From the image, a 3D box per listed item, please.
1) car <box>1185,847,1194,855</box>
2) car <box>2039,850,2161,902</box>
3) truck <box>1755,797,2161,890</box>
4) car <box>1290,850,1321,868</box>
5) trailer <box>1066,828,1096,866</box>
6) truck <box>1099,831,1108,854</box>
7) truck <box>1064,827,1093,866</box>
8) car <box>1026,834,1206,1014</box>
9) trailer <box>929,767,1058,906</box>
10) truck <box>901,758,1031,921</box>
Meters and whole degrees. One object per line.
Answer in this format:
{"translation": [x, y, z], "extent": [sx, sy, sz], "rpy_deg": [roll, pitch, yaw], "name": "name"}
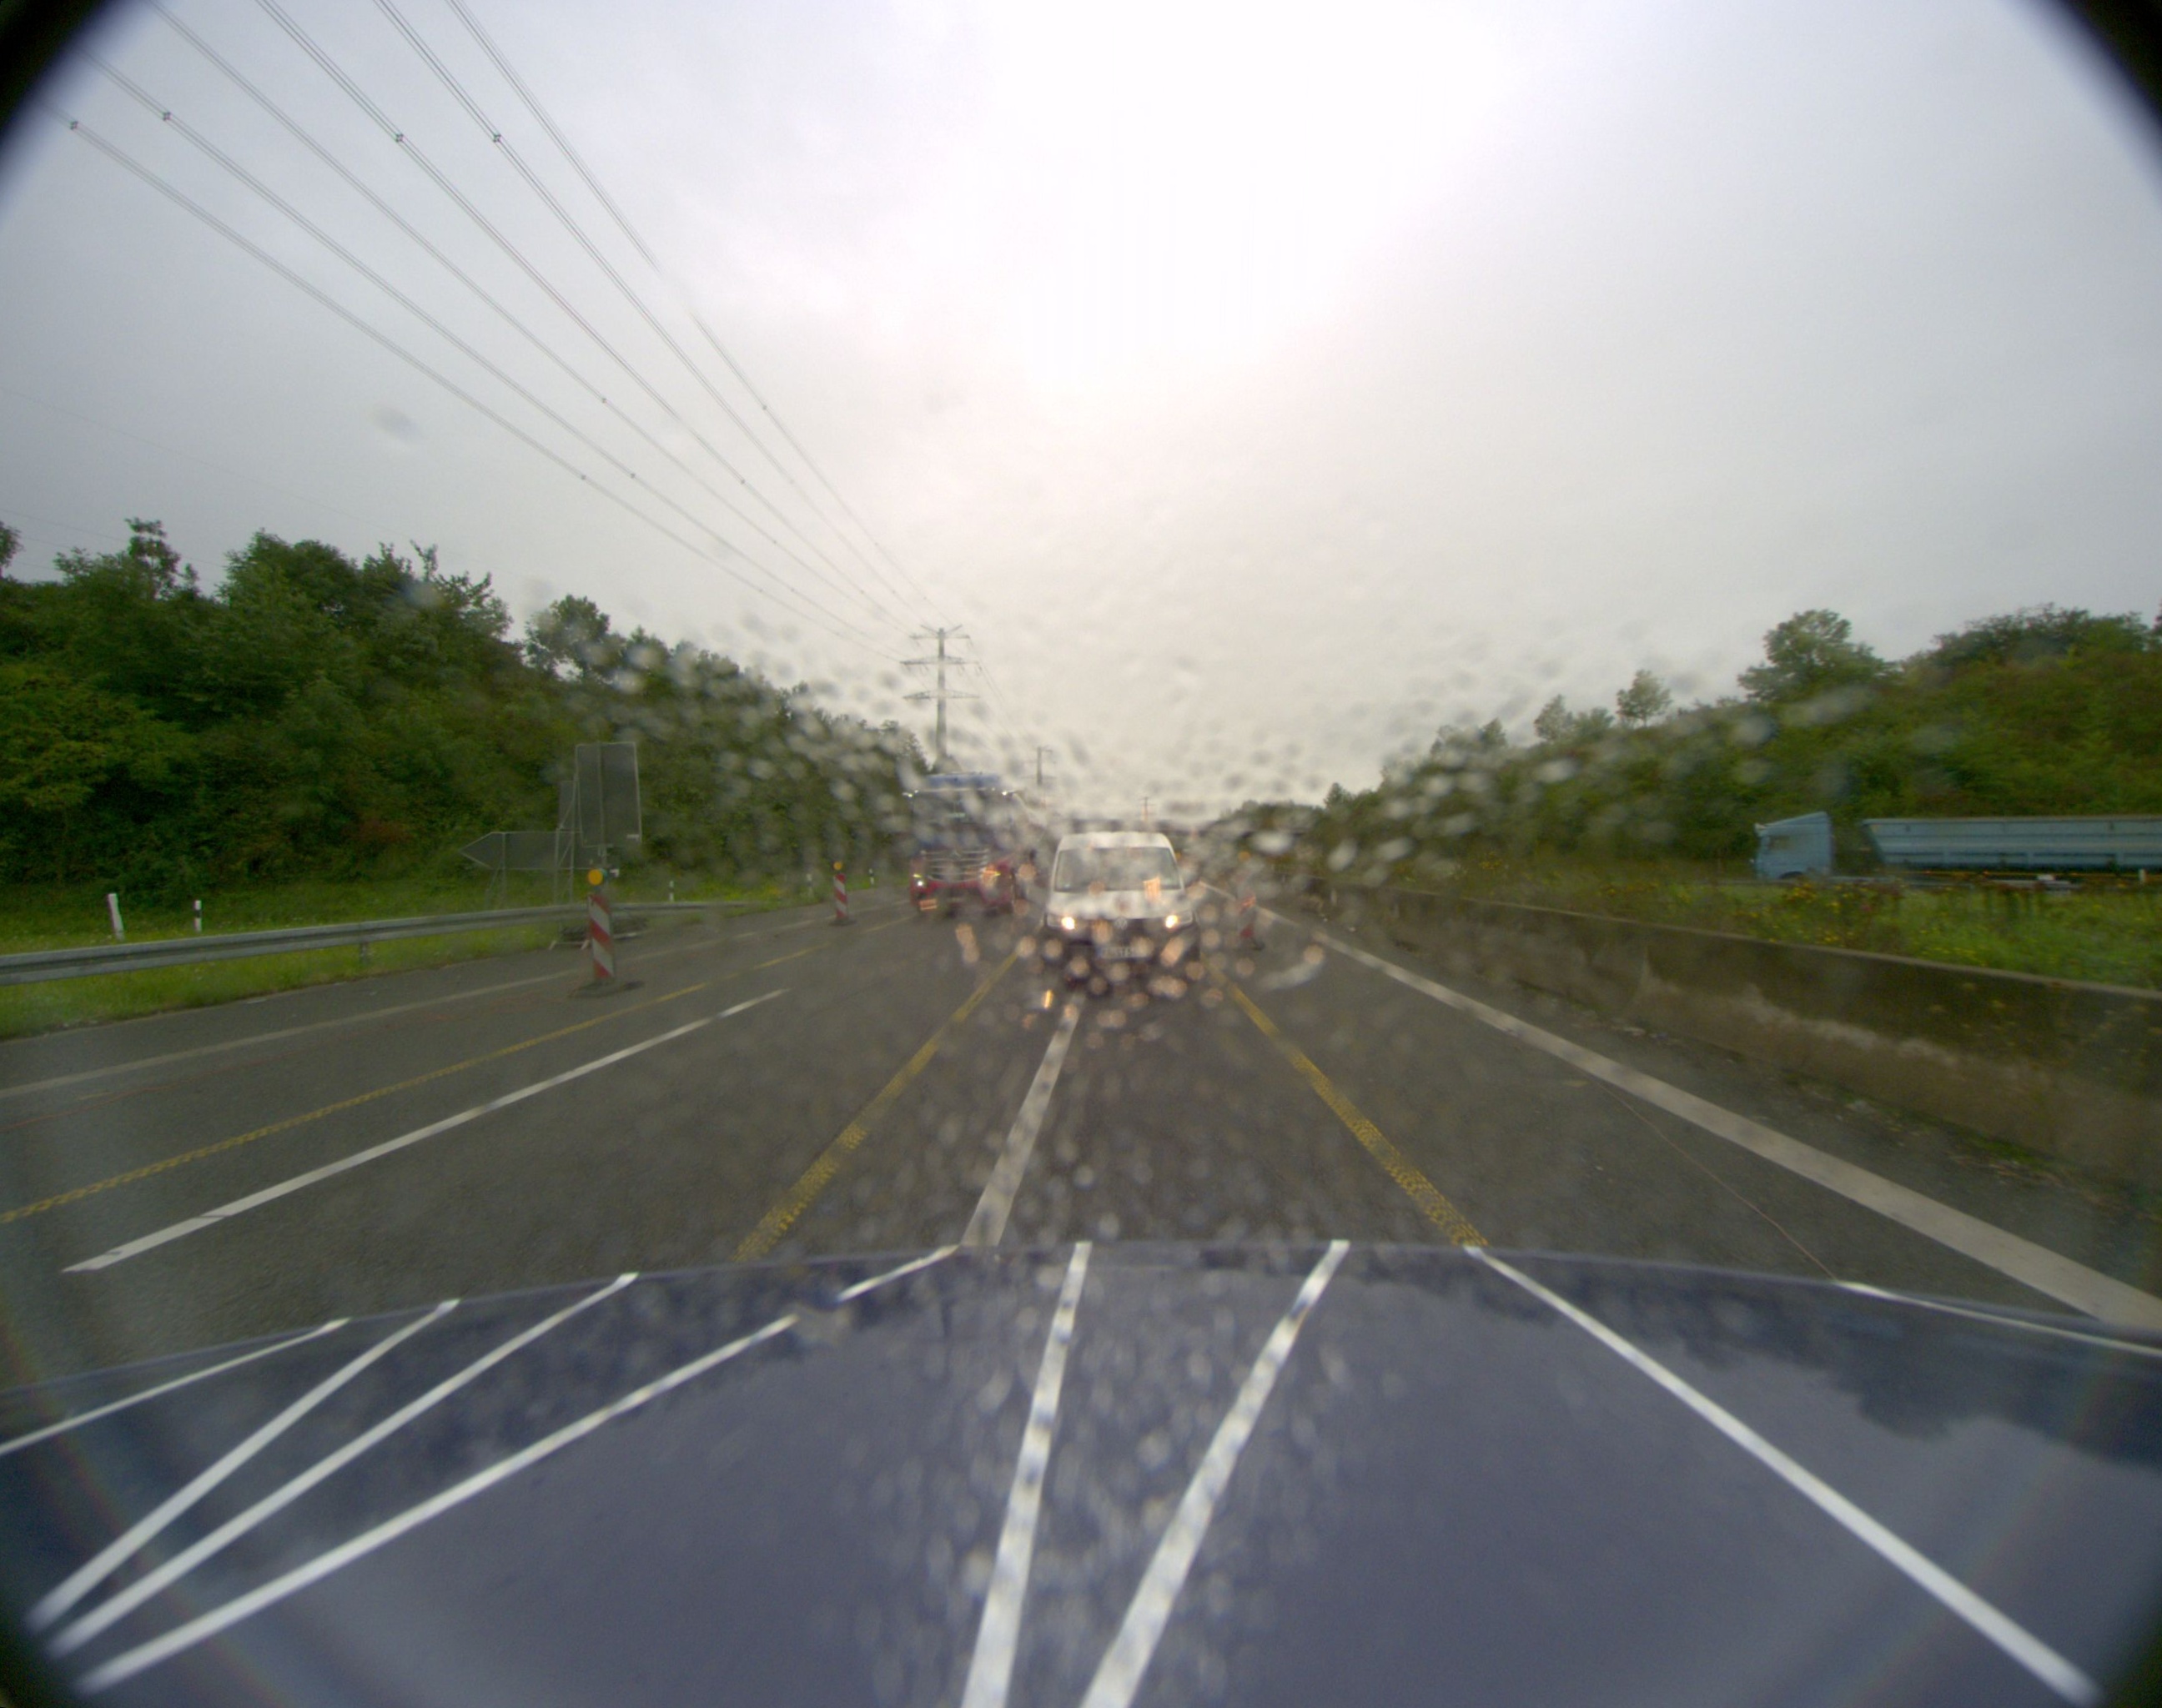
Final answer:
{"translation": [30.532, -0.868, 214.129], "extent": [2.244, 2.426, 5.885], "rpy_deg": [0, 0, 4], "name": "car"}
{"translation": [42.083, 0.839, 30.673], "extent": [3.988, 2.002, 2.004], "rpy_deg": [1, 1, 44], "name": "car"}
{"translation": [39.363, -0.428, 33.340], "extent": [14.537, 3.599, 2.907], "rpy_deg": [0, 1, 41], "name": "truck"}
{"translation": [23.110, 0.473, 78.314], "extent": [1.998, 1.779, 4.229], "rpy_deg": [0, 0, 1], "name": "car"}
{"translation": [0.146, -0.887, 89.760], "extent": [2.808, 3.981, 14.148], "rpy_deg": [-2, 1, 2], "name": "trailer"}
{"translation": [6.286, -3.151, 207.427], "extent": [2.276, 3.695, 6.631], "rpy_deg": [-2, 24, 3], "name": "truck"}
{"translation": [-0.196, -0.833, 82.063], "extent": [2.748, 3.912, 5.397], "rpy_deg": [-2, 1, 2], "name": "truck"}
{"translation": [0.407, 0.705, 10.081], "extent": [1.770, 1.774, 4.647], "rpy_deg": [-2, 0, 1], "name": "car"}
{"translation": [-2.643, -0.617, 27.524], "extent": [2.525, 3.812, 12.351], "rpy_deg": [-2, 1, 3], "name": "trailer"}
{"translation": [-2.973, -0.390, 20.772], "extent": [2.553, 3.924, 4.000], "rpy_deg": [-2, 1, 4], "name": "truck"}
